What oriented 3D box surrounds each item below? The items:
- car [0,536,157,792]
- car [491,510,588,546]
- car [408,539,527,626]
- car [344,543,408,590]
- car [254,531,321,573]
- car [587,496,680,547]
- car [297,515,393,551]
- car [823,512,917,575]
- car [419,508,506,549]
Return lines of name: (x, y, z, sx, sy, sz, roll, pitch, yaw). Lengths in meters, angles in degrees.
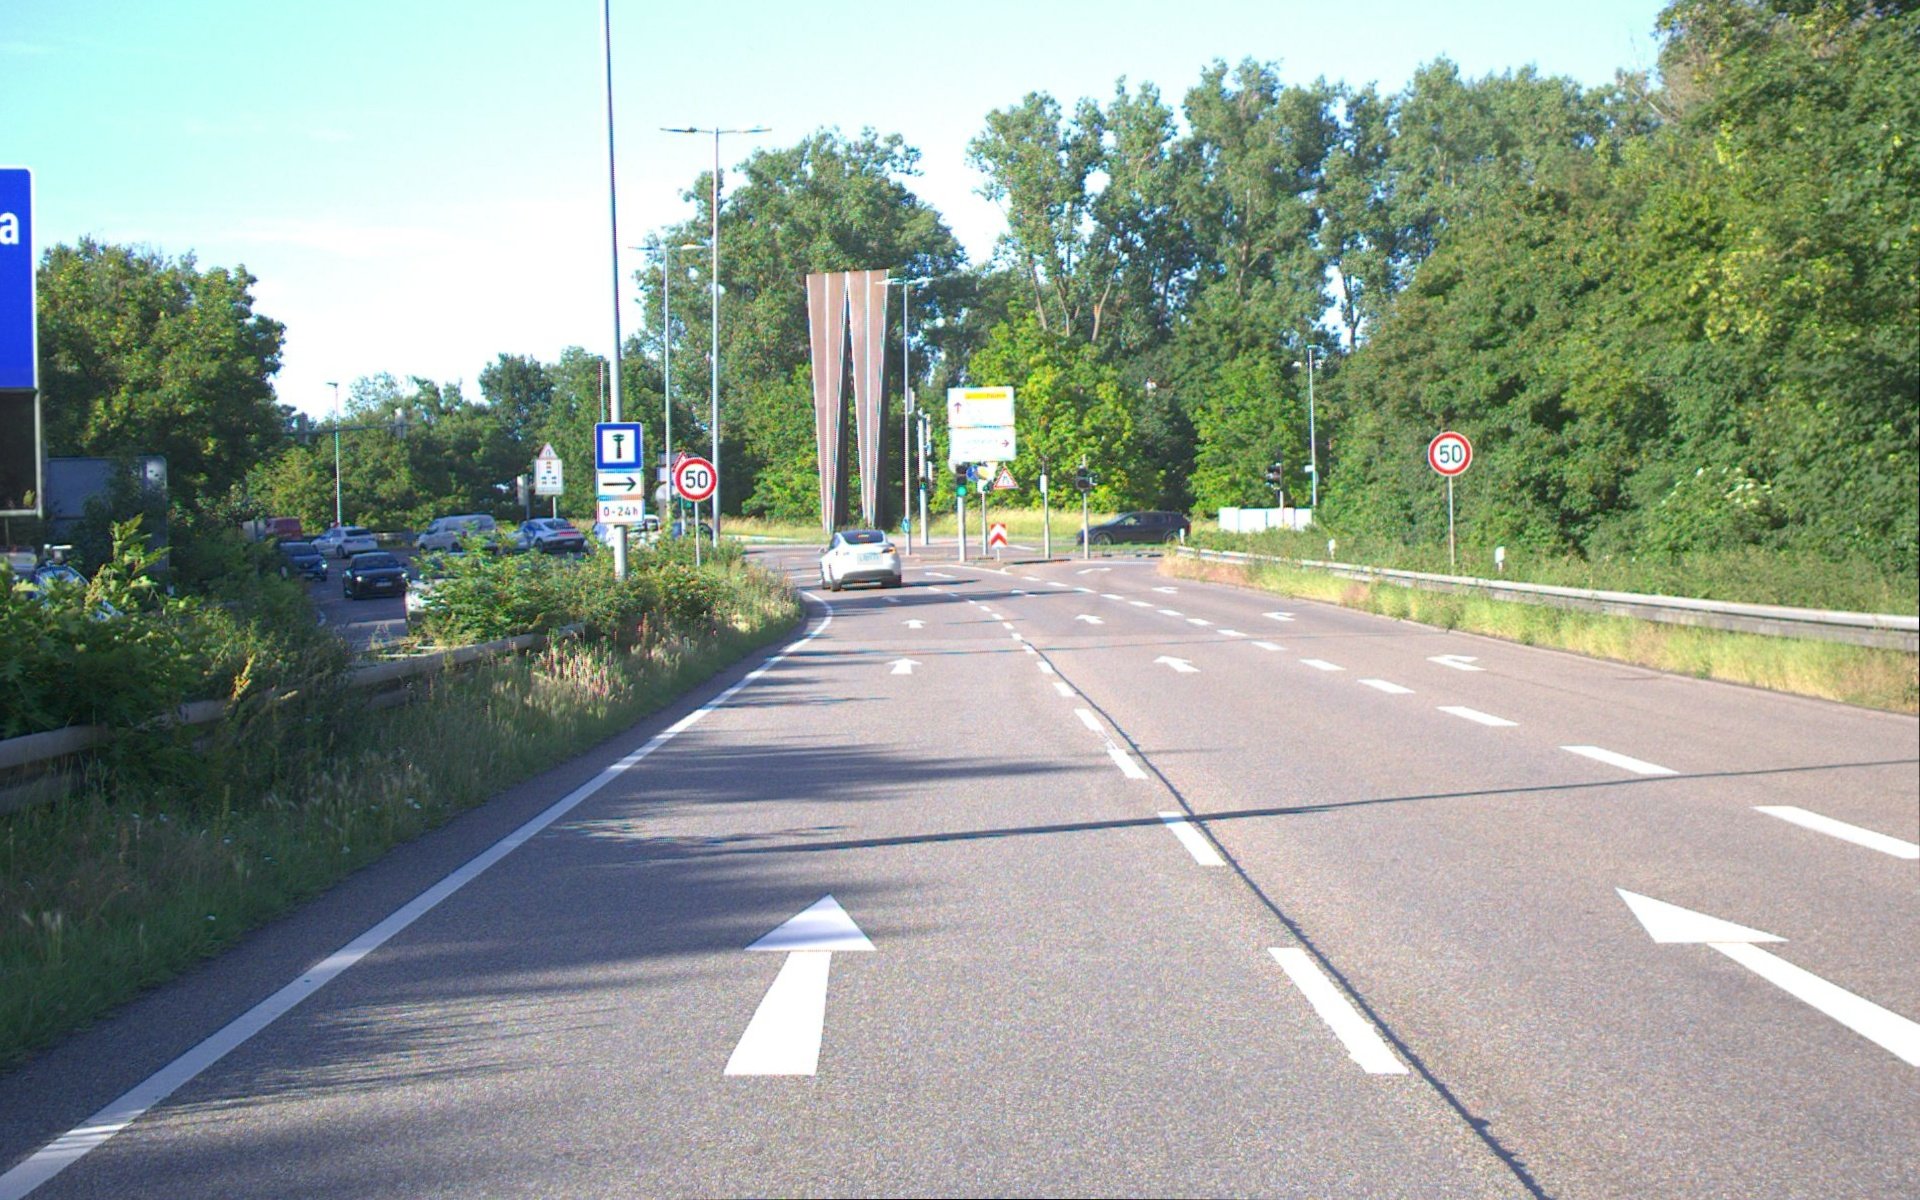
car: (-7.504, 0.425, 26.033, 1.834, 1.766, 4.338, -1, 1, -1)
car: (-18.139, -3.115, 148.315, 1.970, 1.469, 4.152, -4, 3, -45)
car: (-9.606, -0.365, 67.285, 1.769, 1.564, 4.219, -2, 1, -2)
car: (-18.757, -1.094, 110.512, 1.804, 1.412, 4.533, -3, 1, -7)
car: (-25.427, -1.808, 129.830, 1.885, 1.415, 4.365, -4, 2, -18)
car: (-12.665, -3.042, 133.140, 1.993, 1.873, 4.249, -3, 2, -29)
car: (-27.770, -3.032, 155.257, 3.997, 1.503, 2.268, 0, 2, 42)
car: (-2.494, -1.579, 94.628, 1.993, 1.634, 4.129, -2, 2, -9)
car: (-21.177, -3.048, 146.368, 1.969, 1.692, 3.999, -3, 3, -36)
